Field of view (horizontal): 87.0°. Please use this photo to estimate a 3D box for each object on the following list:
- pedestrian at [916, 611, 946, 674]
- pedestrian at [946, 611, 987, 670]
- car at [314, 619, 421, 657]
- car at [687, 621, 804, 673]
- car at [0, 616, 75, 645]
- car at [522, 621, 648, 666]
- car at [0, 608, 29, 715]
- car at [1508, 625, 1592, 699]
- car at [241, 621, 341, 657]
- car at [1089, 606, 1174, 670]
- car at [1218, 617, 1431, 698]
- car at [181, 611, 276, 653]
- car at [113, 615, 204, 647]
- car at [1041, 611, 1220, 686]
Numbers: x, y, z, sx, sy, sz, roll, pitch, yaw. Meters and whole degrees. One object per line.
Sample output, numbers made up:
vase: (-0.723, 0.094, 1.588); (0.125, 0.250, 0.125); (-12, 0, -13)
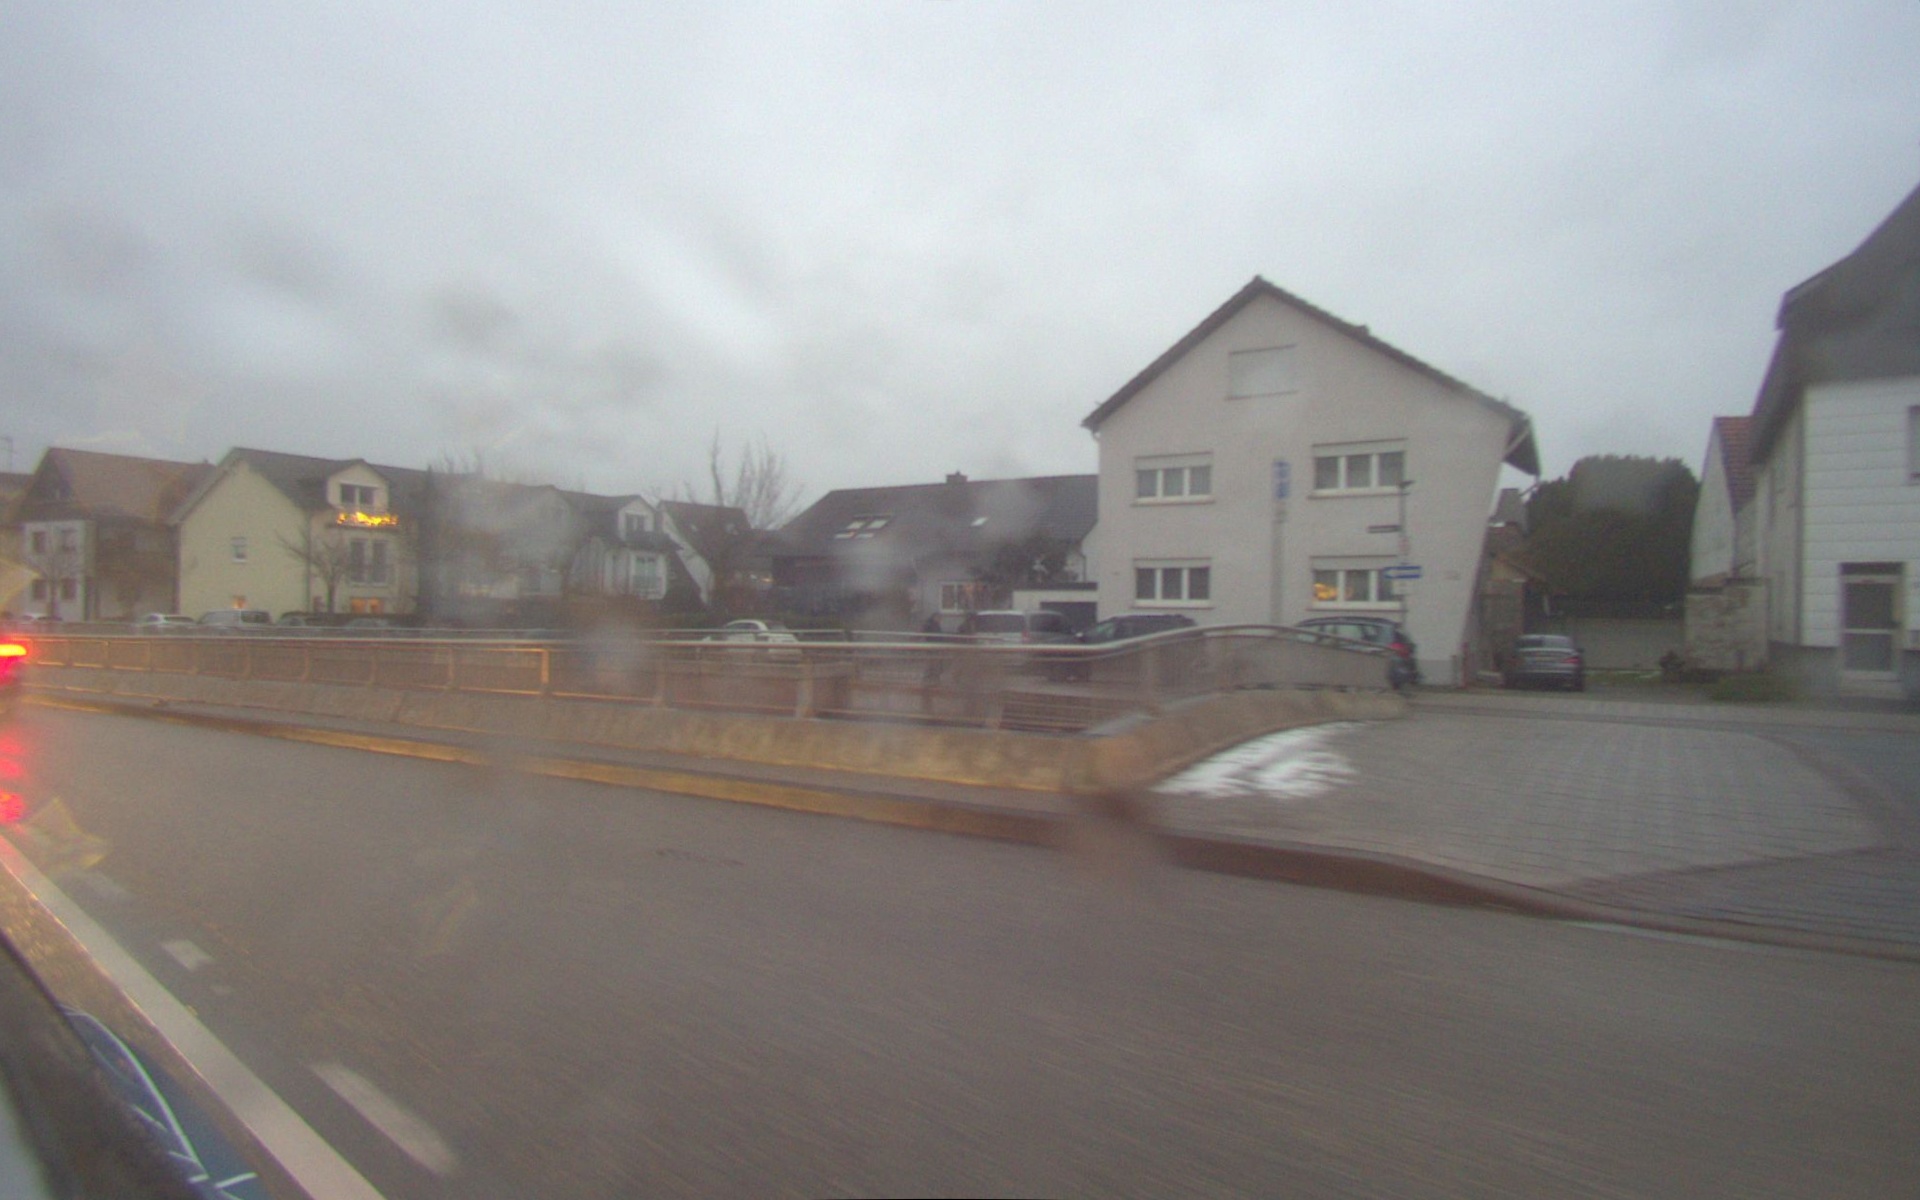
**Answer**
pedestrian: (-0.602, 0.885, 21.230); (0.595, 1.312, 0.511); (-1, -1, 2)
pedestrian: (0.152, 0.862, 21.912); (0.601, 1.259, 0.684); (-1, -1, 35)
car: (-24.388, 1.522, 41.654); (4.235, 1.480, 1.784); (0, -1, 27)
car: (-6.688, 1.433, 31.527); (3.489, 1.520, 1.464); (-1, -1, 30)
car: (-49.554, 1.587, 53.909); (4.585, 1.480, 1.786); (0, -1, 23)
car: (-13.283, 1.498, 35.797); (4.235, 1.480, 1.784); (0, -1, 27)
car: (-16.491, 0.969, 15.977); (3.946, 1.634, 1.764); (-1, -1, 33)
car: (15.279, 1.601, 26.120); (1.712, 1.695, 3.956); (1, -3, 32)
car: (-29.211, 1.665, 44.149); (4.235, 1.480, 1.784); (0, -1, 27)
car: (5.666, 1.300, 33.098); (1.467, 1.952, 3.664); (-2, -5, 32)
car: (7.882, 1.169, 22.018); (4.083, 1.581, 1.760); (-1, 0, 34)
car: (-33.513, 1.456, 46.347); (4.235, 1.841, 1.784); (0, -1, 27)
car: (-38.705, 1.511, 48.874); (3.991, 1.480, 1.663); (-1, -3, 23)
car: (4.109, 1.125, 24.538); (3.945, 1.673, 1.686); (-1, 0, 31)
